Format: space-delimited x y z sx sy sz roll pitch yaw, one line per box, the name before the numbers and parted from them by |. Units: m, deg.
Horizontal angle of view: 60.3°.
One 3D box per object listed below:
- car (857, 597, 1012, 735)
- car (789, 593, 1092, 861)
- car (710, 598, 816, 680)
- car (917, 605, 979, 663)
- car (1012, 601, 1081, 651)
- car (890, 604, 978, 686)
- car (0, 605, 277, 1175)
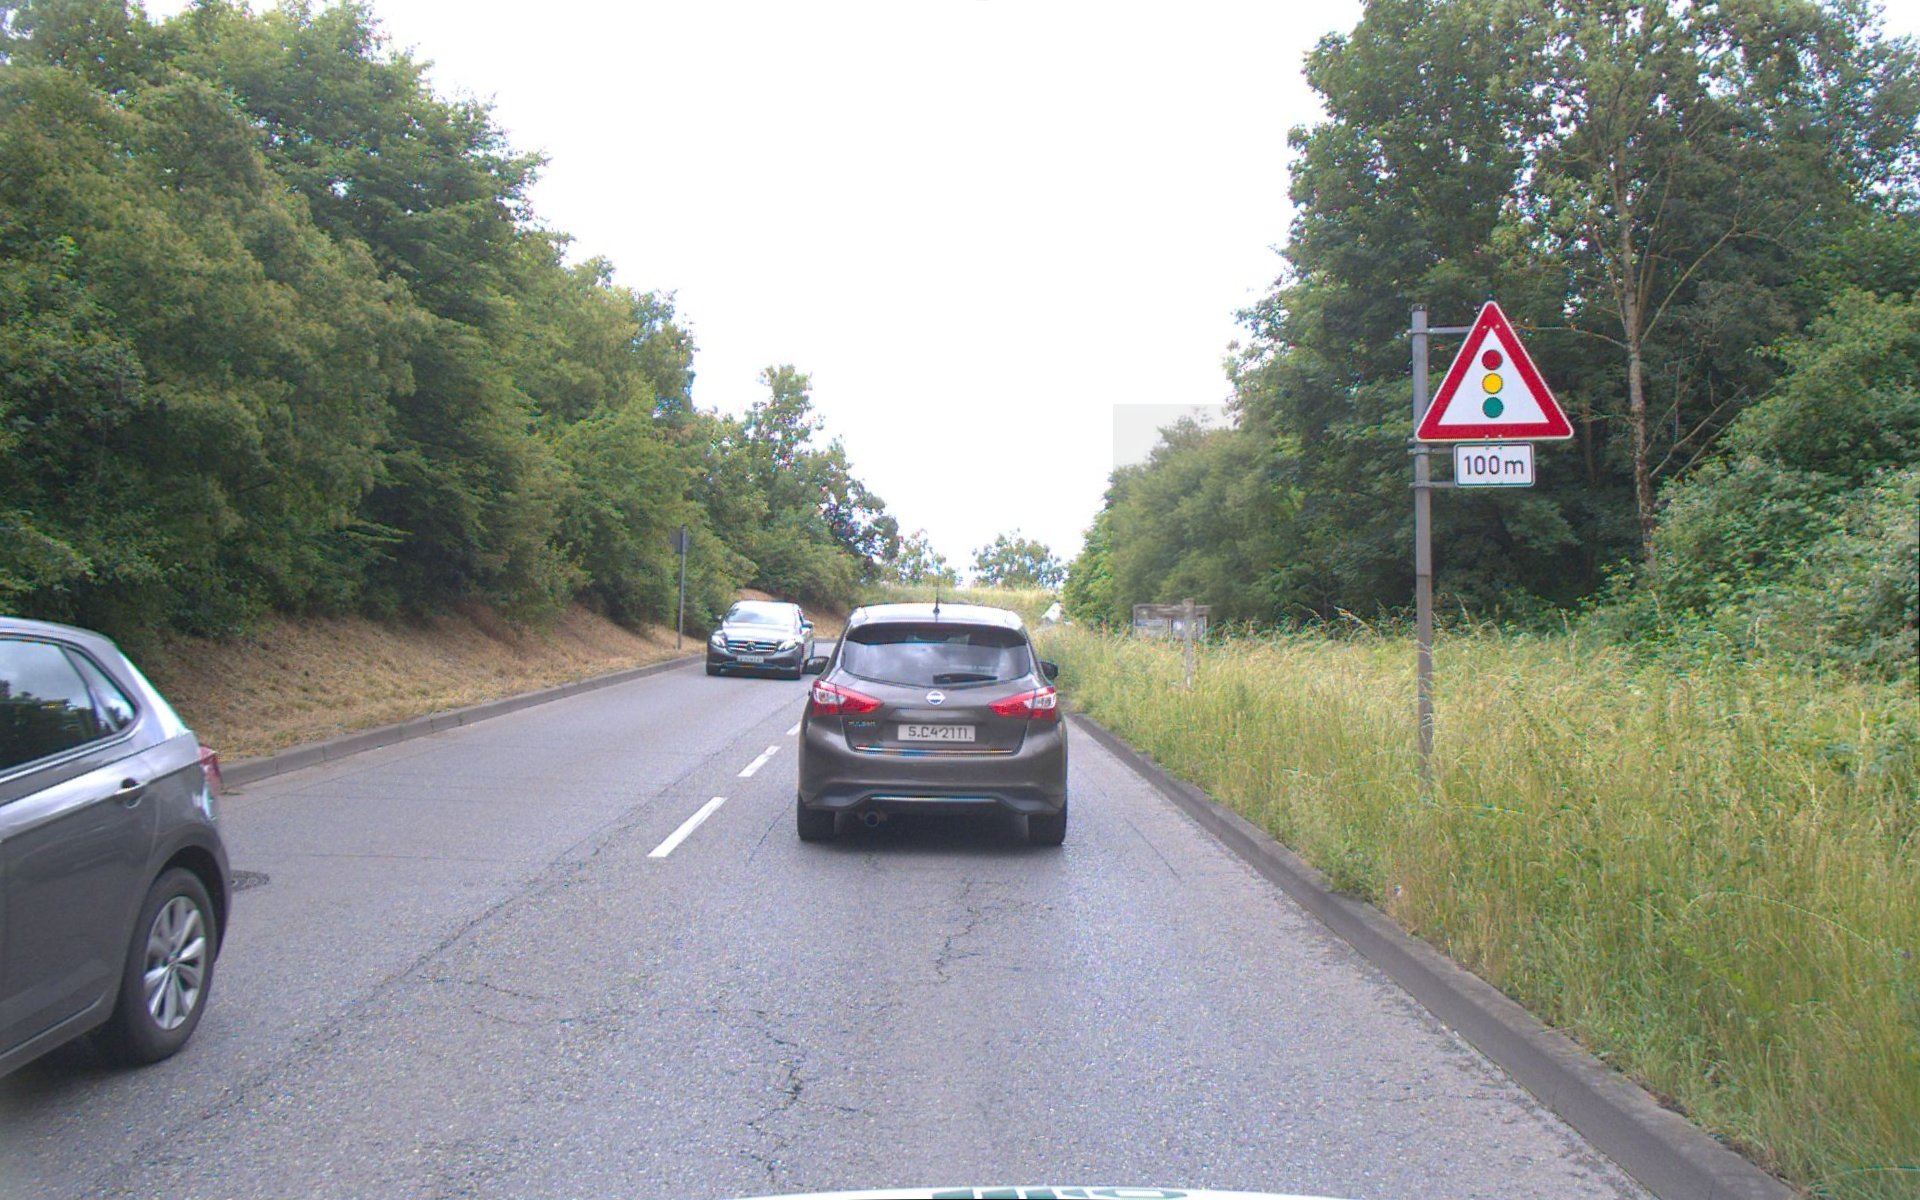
car | -0.291 0.764 20.929 1.793 1.583 3.624 0 0 0
car | -0.178 0.763 11.616 1.793 1.583 3.497 1 0 -2
car | -3.837 0.731 32.745 1.609 1.424 3.820 4 0 -1
car | -0.340 0.941 47.395 1.700 1.583 3.543 0 0 0
car | 3.528 1.019 66.738 1.701 1.969 3.542 0 0 23
car | -0.497 0.869 33.598 1.700 1.583 3.543 0 0 0
car | -3.214 0.728 3.947 1.608 1.425 3.820 1 0 -1
